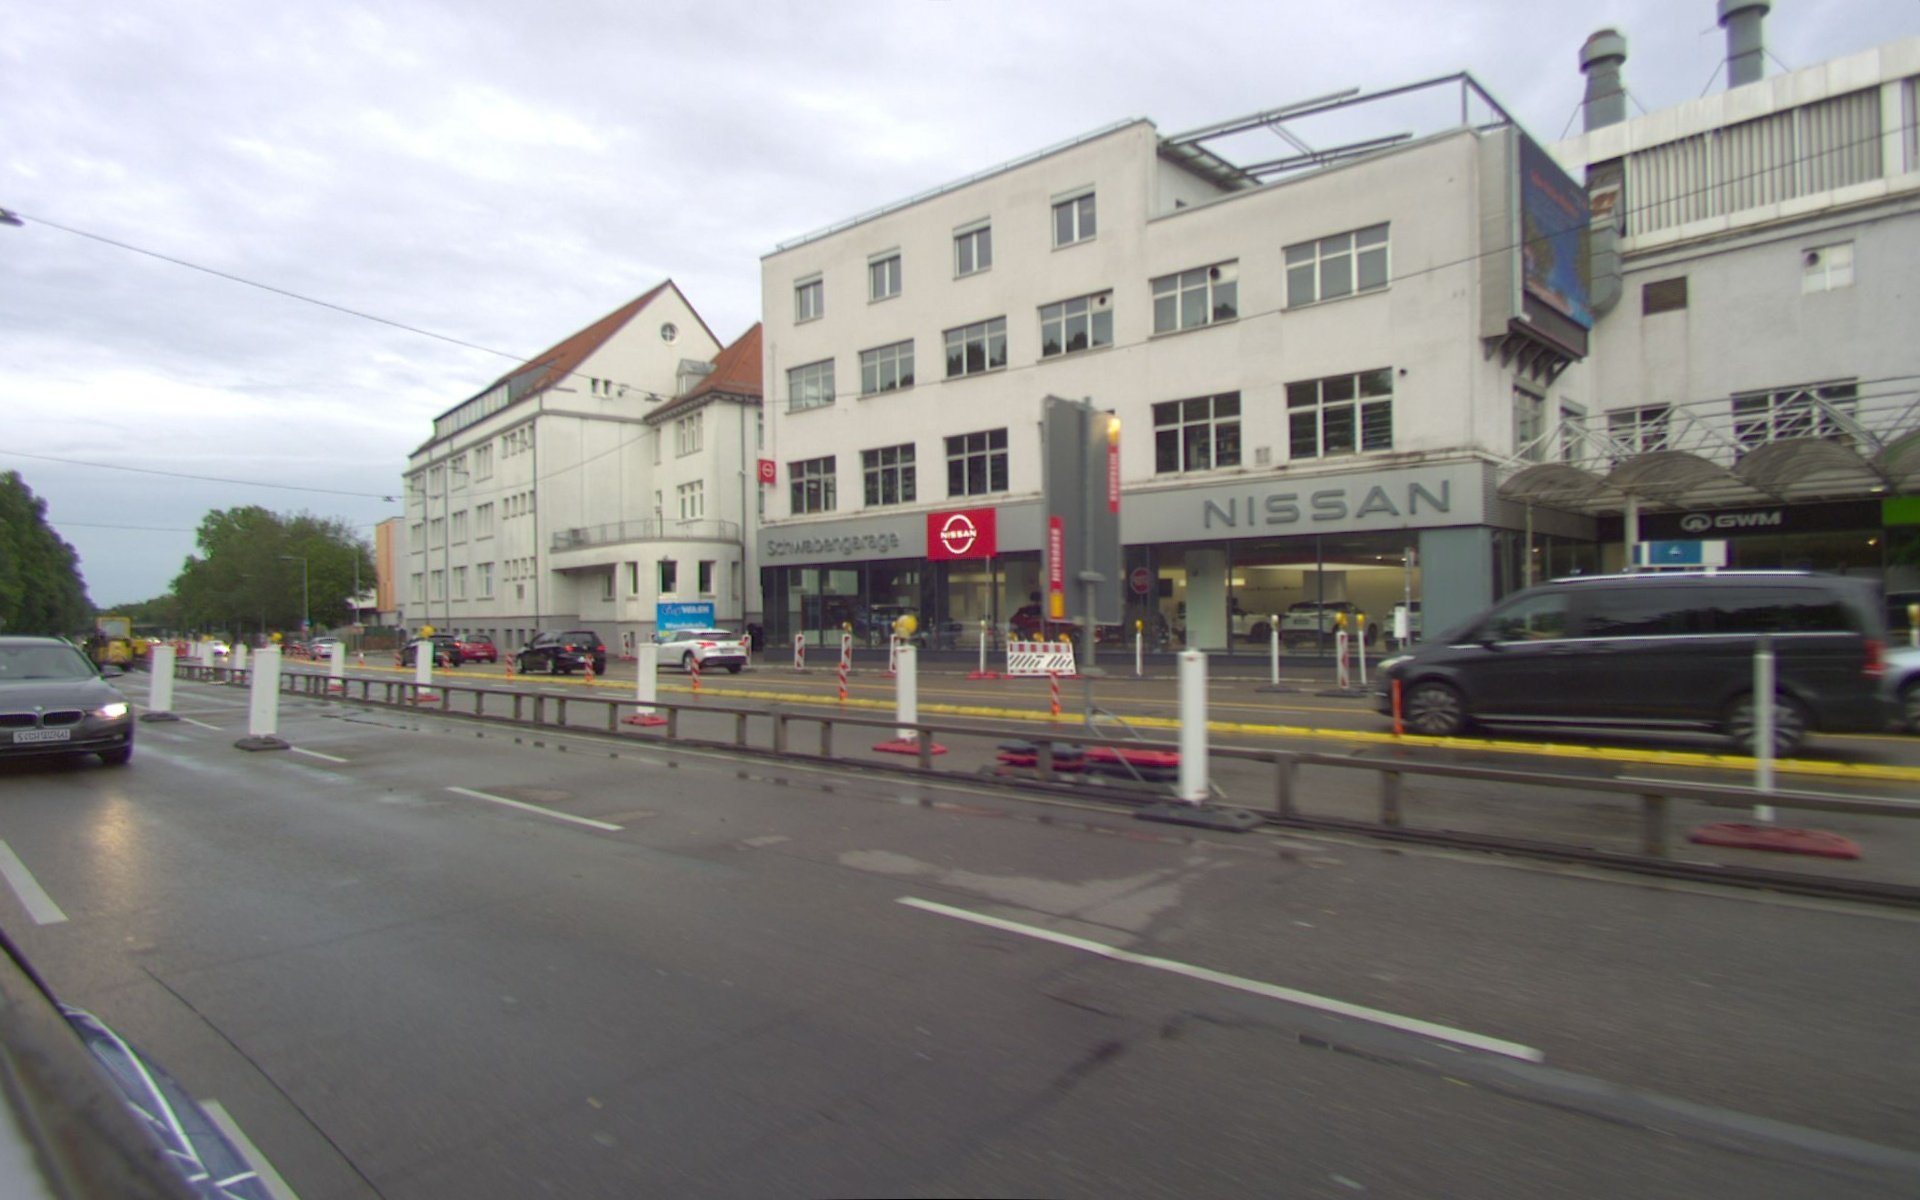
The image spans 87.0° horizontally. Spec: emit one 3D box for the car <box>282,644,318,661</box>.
[{"bbox_3d":[-58.302,4.626,89.372,4.001,1.392,1.836,-3,-3,44],"label":"car"}]

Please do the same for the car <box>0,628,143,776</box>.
[{"bbox_3d":[-10.975,1.094,11.615,4.174,1.461,1.741,-3,-3,40],"label":"car"}]

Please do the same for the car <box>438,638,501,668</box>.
[{"bbox_3d":[-24.849,2.664,51.210,3.710,1.425,1.714,-2,-2,45],"label":"car"}]

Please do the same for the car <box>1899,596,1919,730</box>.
[{"bbox_3d":[13.564,0.730,11.407,4.262,1.597,1.729,-1,-2,41],"label":"car"}]

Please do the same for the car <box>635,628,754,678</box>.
[{"bbox_3d":[-8.846,1.698,33.511,4.524,1.519,1.763,-2,-2,45],"label":"car"}]

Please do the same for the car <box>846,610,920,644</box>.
[{"bbox_3d":[-4.304,1.548,57.085,3.903,1.844,1.792,1,-2,-42],"label":"car"}]

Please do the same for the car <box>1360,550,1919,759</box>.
[{"bbox_3d":[7.699,0.587,11.884,5.228,1.951,1.973,-1,-3,41],"label":"car"}]

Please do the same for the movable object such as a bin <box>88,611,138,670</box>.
[{"bbox_3d":[-43.670,2.113,52.159,1.800,2.935,3.611,2,-4,-42],"label":"movable object such as a bin"}]

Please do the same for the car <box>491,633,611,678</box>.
[{"bbox_3d":[-13.451,1.772,33.150,4.812,1.362,1.778,-2,-2,43],"label":"car"}]

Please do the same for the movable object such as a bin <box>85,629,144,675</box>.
[{"bbox_3d":[-40.511,2.463,48.473,1.969,2.128,3.854,1,-3,-42],"label":"movable object such as a bin"}]

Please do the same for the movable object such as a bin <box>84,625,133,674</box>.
[{"bbox_3d":[-52.233,2.997,62.049,2.095,2.860,4.484,2,-3,-42],"label":"movable object such as a bin"}]

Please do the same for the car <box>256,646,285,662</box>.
[{"bbox_3d":[-72.930,5.698,107.005,1.969,1.597,4.216,1,-3,-41],"label":"car"}]

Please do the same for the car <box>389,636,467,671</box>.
[{"bbox_3d":[-22.580,2.233,42.908,3.805,1.398,1.778,-2,-2,43],"label":"car"}]

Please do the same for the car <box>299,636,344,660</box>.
[{"bbox_3d":[-40.646,3.045,64.408,1.680,1.475,4.122,3,-4,-43],"label":"car"}]
